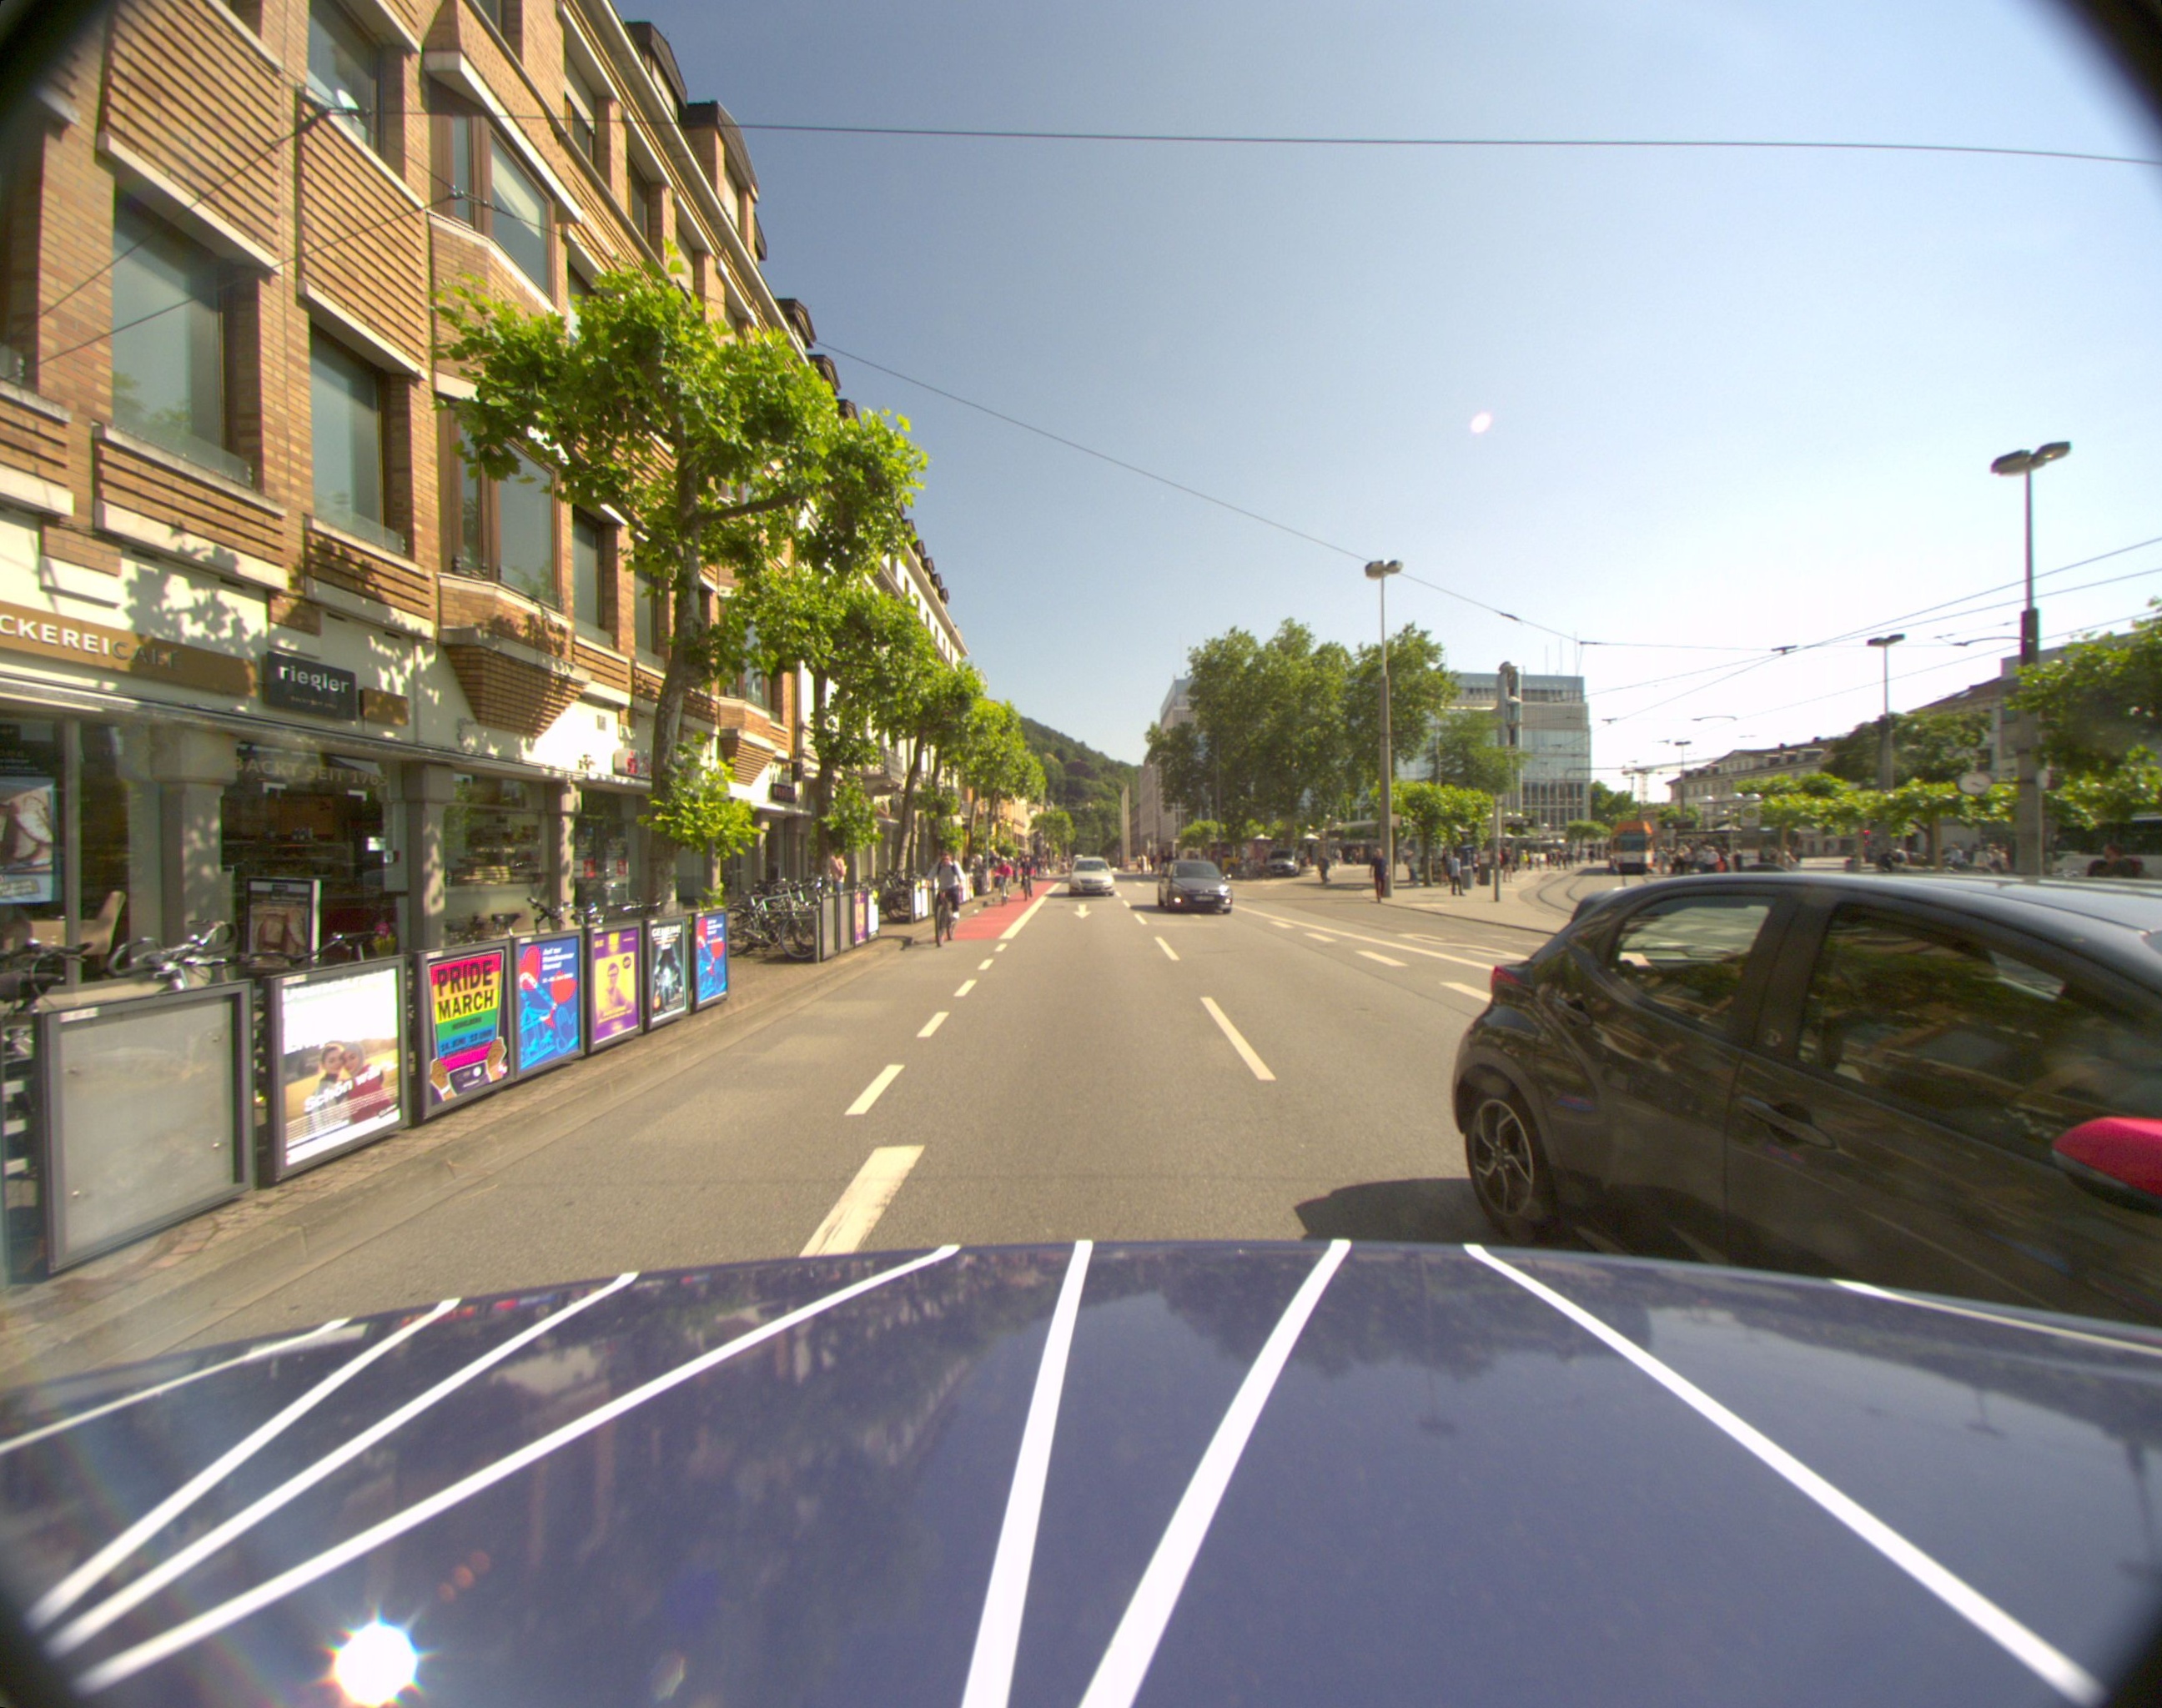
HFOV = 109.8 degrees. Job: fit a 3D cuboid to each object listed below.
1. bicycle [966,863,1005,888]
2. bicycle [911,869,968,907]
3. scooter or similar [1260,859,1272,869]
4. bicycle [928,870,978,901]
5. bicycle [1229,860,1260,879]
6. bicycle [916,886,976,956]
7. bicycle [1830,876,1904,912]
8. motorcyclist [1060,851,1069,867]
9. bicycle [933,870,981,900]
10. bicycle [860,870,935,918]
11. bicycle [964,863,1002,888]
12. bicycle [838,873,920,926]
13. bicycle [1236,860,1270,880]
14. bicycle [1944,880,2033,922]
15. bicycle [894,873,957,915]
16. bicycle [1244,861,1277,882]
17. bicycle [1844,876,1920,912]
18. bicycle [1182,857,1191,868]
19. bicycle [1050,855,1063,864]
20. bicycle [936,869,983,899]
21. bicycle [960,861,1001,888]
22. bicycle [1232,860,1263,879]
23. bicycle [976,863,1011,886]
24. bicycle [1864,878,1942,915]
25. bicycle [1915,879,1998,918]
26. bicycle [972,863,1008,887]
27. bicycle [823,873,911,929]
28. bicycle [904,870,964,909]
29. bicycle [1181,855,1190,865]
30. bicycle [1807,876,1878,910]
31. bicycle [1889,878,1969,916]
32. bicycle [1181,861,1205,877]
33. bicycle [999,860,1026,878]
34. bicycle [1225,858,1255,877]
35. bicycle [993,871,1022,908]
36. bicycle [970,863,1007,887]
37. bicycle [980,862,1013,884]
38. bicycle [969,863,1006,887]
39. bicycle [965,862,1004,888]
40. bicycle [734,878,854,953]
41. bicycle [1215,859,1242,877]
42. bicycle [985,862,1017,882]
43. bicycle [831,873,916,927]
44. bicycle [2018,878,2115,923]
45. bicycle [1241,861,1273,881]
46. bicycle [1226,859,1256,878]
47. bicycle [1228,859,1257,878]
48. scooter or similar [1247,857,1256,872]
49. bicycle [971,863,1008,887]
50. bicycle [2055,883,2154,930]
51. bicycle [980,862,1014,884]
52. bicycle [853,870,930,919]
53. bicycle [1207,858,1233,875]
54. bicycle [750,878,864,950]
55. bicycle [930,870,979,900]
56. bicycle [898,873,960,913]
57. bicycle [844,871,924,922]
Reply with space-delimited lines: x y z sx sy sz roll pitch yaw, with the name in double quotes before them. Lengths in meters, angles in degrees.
"bicycle" -4.557 1.003 36.206 1.757 1.140 0.483 -2 1 -2
"bicycle" -4.609 1.105 24.855 1.757 1.140 0.483 -2 1 -2
"scooter or similar" 13.277 0.695 54.578 0.579 0.643 0.787 -3 1 33
"bicycle" -4.795 1.177 28.510 1.757 1.099 0.483 -2 1 -2
"bicycle" 10.213 0.984 47.470 1.757 1.140 0.483 -2 1 -2
"bicycle" -2.459 1.190 14.030 0.736 1.086 1.897 -3 1 -1
"bicycle" 22.539 1.139 21.790 1.871 0.867 0.583 -3 1 -12
"motorcyclist" -1.593 0.464 72.540 0.736 1.446 0.707 -3 1 1
"bicycle" -4.829 1.204 29.585 1.757 1.062 0.483 -2 1 -2
"bicycle" -4.708 1.024 19.550 1.757 1.140 0.499 -2 1 -2
"bicycle" -4.744 1.040 36.806 1.757 1.140 0.483 -2 1 -2
"bicycle" -4.691 1.050 17.728 1.757 1.140 0.483 -2 1 -2
"bicycle" 10.315 0.972 45.612 1.865 1.140 0.483 -2 1 -2
"bicycle" 22.165 1.140 18.559 1.871 0.864 0.581 -3 1 -12
"bicycle" -4.606 1.174 22.555 1.757 1.180 0.483 -2 1 -2
"bicycle" 10.464 1.000 44.296 1.757 1.140 0.483 -2 1 -2
"bicycle" 22.390 1.101 21.240 1.871 0.851 0.546 -3 1 -12
"bicycle" 11.348 0.906 81.938 0.729 1.137 1.914 -3 1 14
"bicycle" -3.309 0.715 101.961 1.757 1.140 0.592 -2 1 -2
"bicycle" -4.837 1.183 30.245 1.757 1.140 0.483 -2 1 -2
"bicycle" -4.608 0.953 34.996 1.804 1.187 0.483 -2 1 -2
"bicycle" 10.227 0.964 46.724 1.757 1.140 0.483 -2 1 -2
"bicycle" -4.639 1.064 40.230 1.757 1.140 0.592 -2 1 -2
"bicycle" 22.383 1.150 20.689 1.871 0.851 0.546 -3 1 -12
"bicycle" 22.379 1.126 19.432 1.871 0.851 0.546 -3 1 -12
"bicycle" -4.673 1.072 39.238 1.757 1.140 0.592 -2 1 -2
"bicycle" -4.660 1.015 16.616 1.757 1.140 0.483 -2 1 -2
"bicycle" -4.586 1.088 23.705 1.757 1.140 0.483 -2 1 -2
"bicycle" 12.694 0.745 92.309 0.592 1.140 1.757 -2 1 -7
"bicycle" 22.463 1.135 22.410 1.871 0.851 0.546 -3 1 -12
"bicycle" 22.445 1.122 20.110 1.871 0.851 0.546 -3 1 -12
"bicycle" 7.808 1.051 53.207 0.831 1.017 2.624 -3 0 -10
"bicycle" -4.638 1.000 51.254 1.757 1.140 0.592 -2 1 -2
"bicycle" 10.323 0.878 49.348 1.757 1.140 0.483 -2 1 -2
"bicycle" -2.410 1.150 25.070 0.736 1.086 1.819 -3 0 -1
"bicycle" -4.624 1.041 37.996 1.757 1.140 0.483 -2 1 -2
"bicycle" -4.683 1.053 42.293 1.757 1.140 0.592 -2 1 -2
"bicycle" -4.610 1.044 37.465 1.757 1.140 0.483 -2 1 -2
"bicycle" -4.522 0.988 35.634 1.757 1.140 0.483 -2 1 -2
"bicycle" -4.713 1.004 12.552 1.757 1.140 0.483 -2 1 -2
"bicycle" 10.157 0.955 52.453 1.757 1.140 0.483 -2 1 -2
"bicycle" -4.662 1.042 44.330 1.757 1.140 0.592 -2 1 -2
"bicycle" -4.671 1.026 17.140 1.757 1.140 0.483 -2 1 -2
"bicycle" 22.348 1.050 17.234 1.871 0.864 0.581 -3 1 -12
"bicycle" 10.386 0.993 44.764 1.757 1.140 0.483 -2 1 -2
"bicycle" 10.238 0.925 48.666 1.757 1.140 0.483 -2 1 -2
"bicycle" 10.204 0.940 48.047 1.757 1.140 0.483 -2 1 -2
"scooter or similar" 13.331 0.832 59.428 0.567 1.113 0.539 -3 1 28
"bicycle" -4.632 1.074 38.544 1.757 1.140 0.592 -2 1 -2
"bicycle" 22.466 1.135 16.681 1.871 0.864 0.581 -3 1 -12
"bicycle" -4.586 1.055 41.510 1.757 1.140 0.592 -2 1 -2
"bicycle" -4.694 1.005 18.900 1.757 1.140 0.483 -2 1 -2
"bicycle" 9.887 0.913 54.008 1.757 1.140 0.483 -2 1 -2
"bicycle" -4.712 1.022 13.113 1.757 1.140 0.483 -2 1 -2
"bicycle" -4.826 1.185 29.041 1.757 1.081 0.483 -2 1 -2
"bicycle" -4.607 1.190 23.147 1.757 1.140 0.483 -2 1 -2
"bicycle" -4.713 1.010 18.264 1.757 1.140 0.483 -2 1 -2
